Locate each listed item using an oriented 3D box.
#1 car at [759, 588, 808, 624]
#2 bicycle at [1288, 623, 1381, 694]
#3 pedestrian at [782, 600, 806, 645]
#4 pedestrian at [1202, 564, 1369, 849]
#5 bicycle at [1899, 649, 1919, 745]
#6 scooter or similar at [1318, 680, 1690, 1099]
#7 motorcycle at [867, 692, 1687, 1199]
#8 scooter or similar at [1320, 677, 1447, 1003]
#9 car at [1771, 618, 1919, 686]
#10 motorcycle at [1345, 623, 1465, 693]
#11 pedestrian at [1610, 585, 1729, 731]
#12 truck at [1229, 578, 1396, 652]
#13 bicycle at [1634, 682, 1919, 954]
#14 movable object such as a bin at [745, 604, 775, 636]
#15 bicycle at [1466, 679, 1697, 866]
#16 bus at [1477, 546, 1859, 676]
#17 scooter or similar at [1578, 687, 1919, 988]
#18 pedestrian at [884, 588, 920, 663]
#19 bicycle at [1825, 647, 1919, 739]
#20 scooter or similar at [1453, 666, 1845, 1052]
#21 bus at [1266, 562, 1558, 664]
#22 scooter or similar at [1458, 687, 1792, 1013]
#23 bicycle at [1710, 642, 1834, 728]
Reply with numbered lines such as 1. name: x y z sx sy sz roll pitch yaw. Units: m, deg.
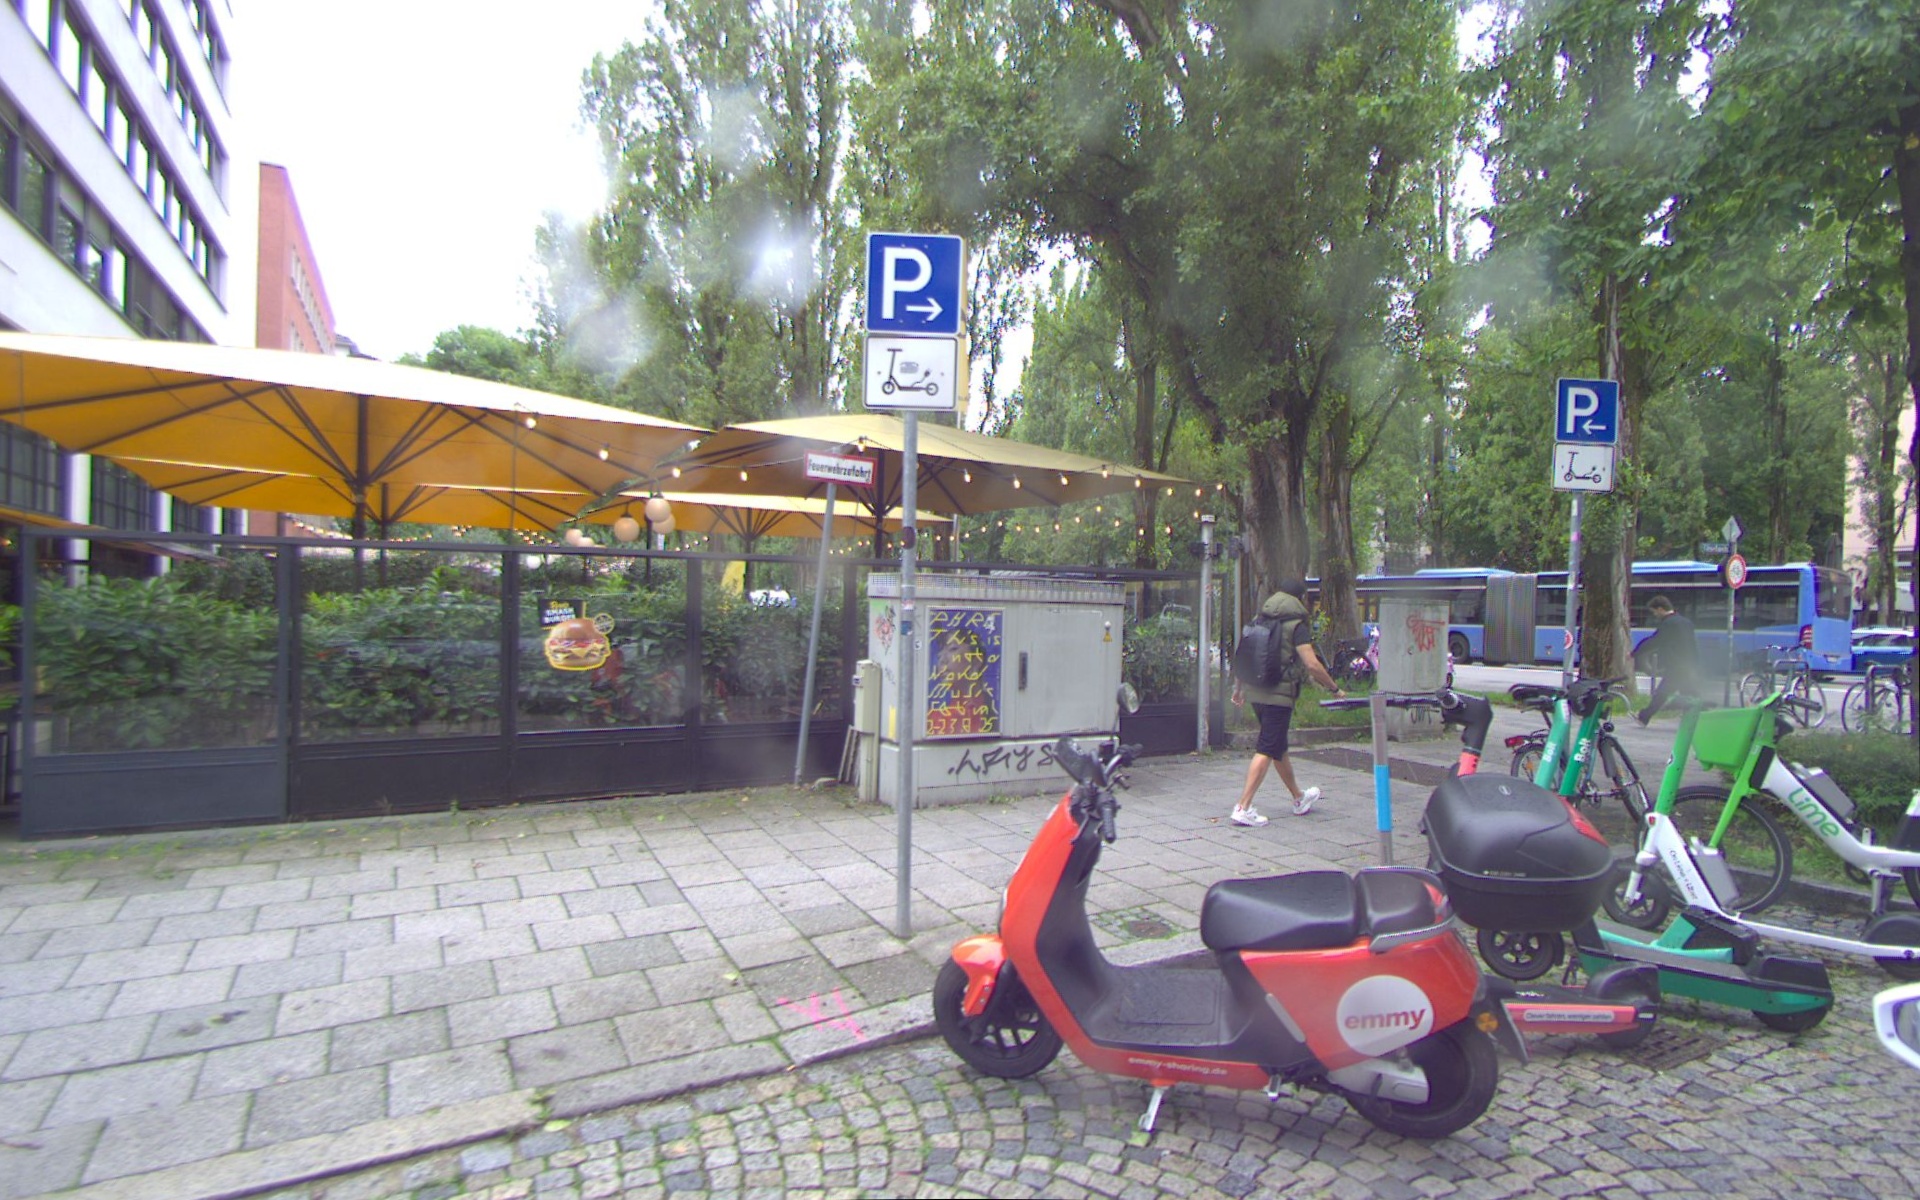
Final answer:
1. car: -13.752 0.449 77.858 2.021 2.687 5.998 0 0 -28
2. bicycle: 6.794 1.044 18.293 0.576 1.204 1.604 1 -1 -28
3. pedestrian: -6.449 0.885 39.018 0.726 1.715 0.643 1 0 -25
4. pedestrian: 2.191 0.669 6.809 0.697 1.796 0.746 1 1 -29
5. bicycle: 12.028 1.158 12.055 1.679 1.108 0.489 1 -1 -24
6. scooter or similar: 1.933 0.944 3.546 1.336 1.290 0.326 1 0 -19
7. motorcycle: 0.794 0.933 2.893 1.951 1.211 0.771 1 -1 18
8. scooter or similar: 1.952 0.985 4.561 0.383 1.195 1.249 1 -1 29
9. car: 25.765 1.453 28.411 1.772 1.754 4.047 3 -2 -29
10. motorcycle: 8.108 1.041 18.372 1.951 1.211 0.630 0 -1 18
11. pedestrian: 8.853 0.706 12.551 0.848 1.734 0.951 1 -1 -30
12. truck: 15.032 0.629 43.432 2.568 2.946 7.031 1 -1 -27
13. bicycle: 4.358 1.034 4.902 1.731 1.158 0.553 1 -1 31
14. movable object such as a bin: -9.183 0.930 46.069 1.052 1.423 0.975 1 -1 -31
15. bicycle: 4.115 1.070 6.609 1.742 1.035 0.549 1 -1 -31
16. bus: 19.378 0.348 28.317 2.891 3.092 8.455 1 -1 -28
17. scooter or similar: 3.703 1.034 4.642 1.408 1.159 0.368 0 -1 38
18. pedestrian: -1.538 0.673 26.597 0.635 1.933 0.700 1 -1 38
19. bicycle: 11.806 1.167 12.822 1.679 1.108 0.489 1 -1 -24
20. scooter or similar: 2.661 0.940 3.990 1.229 1.290 0.327 1 0 31
21. bus: 15.499 0.483 35.569 2.891 3.092 9.723 1 -1 -28
22. scooter or similar: 2.906 1.019 4.509 0.323 1.159 1.242 1 -1 -28
23. bicycle: 11.123 1.141 13.747 1.956 1.108 0.489 1 -1 -24
